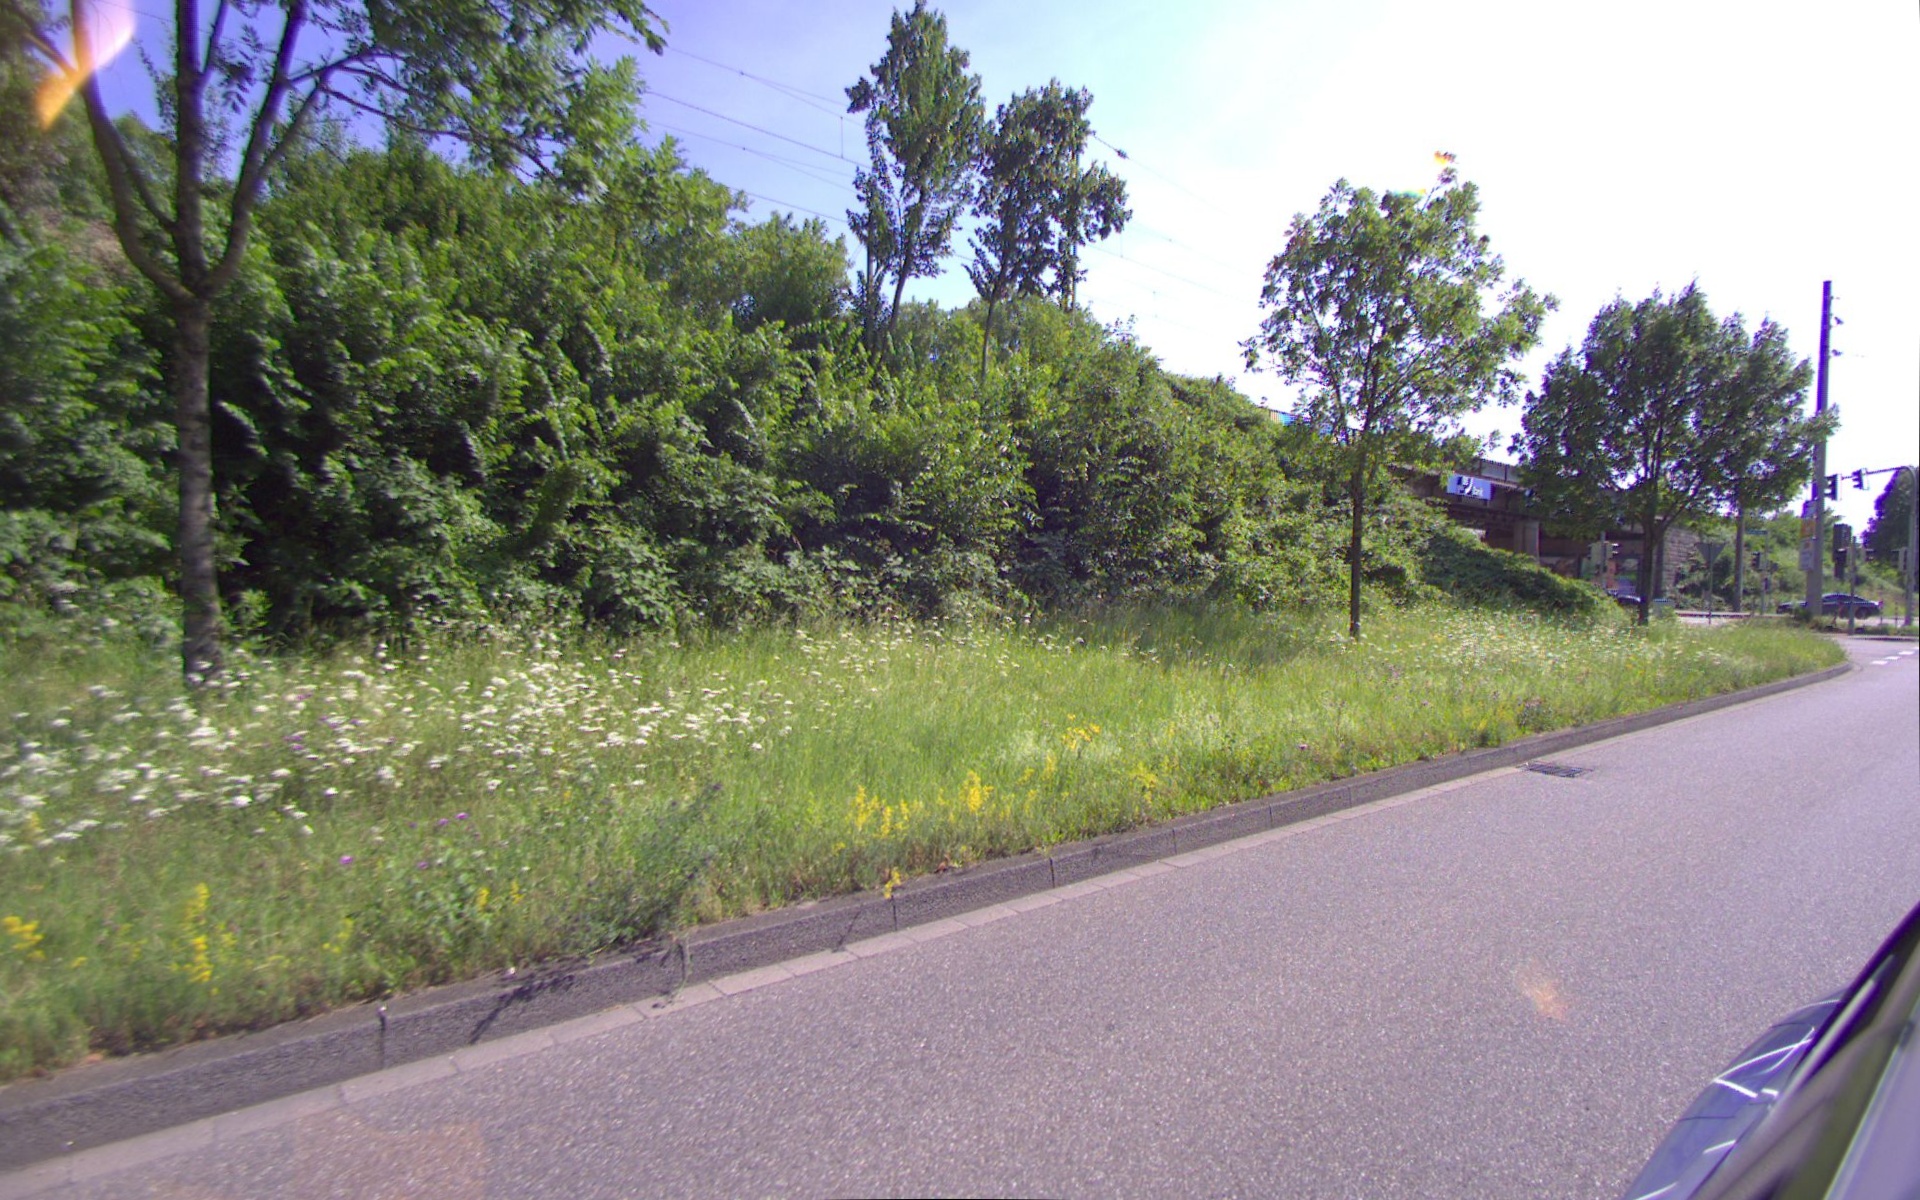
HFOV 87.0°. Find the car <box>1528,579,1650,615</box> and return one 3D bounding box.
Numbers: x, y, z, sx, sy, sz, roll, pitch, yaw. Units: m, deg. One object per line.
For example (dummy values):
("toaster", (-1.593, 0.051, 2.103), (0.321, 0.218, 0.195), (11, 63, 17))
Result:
("car", (29.230, -0.169, 47.191), (4.377, 1.616, 1.993), (1, 1, 12))

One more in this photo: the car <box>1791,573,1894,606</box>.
("car", (49.782, -0.580, 57.184), (3.950, 1.634, 1.807), (2, 0, 20))
